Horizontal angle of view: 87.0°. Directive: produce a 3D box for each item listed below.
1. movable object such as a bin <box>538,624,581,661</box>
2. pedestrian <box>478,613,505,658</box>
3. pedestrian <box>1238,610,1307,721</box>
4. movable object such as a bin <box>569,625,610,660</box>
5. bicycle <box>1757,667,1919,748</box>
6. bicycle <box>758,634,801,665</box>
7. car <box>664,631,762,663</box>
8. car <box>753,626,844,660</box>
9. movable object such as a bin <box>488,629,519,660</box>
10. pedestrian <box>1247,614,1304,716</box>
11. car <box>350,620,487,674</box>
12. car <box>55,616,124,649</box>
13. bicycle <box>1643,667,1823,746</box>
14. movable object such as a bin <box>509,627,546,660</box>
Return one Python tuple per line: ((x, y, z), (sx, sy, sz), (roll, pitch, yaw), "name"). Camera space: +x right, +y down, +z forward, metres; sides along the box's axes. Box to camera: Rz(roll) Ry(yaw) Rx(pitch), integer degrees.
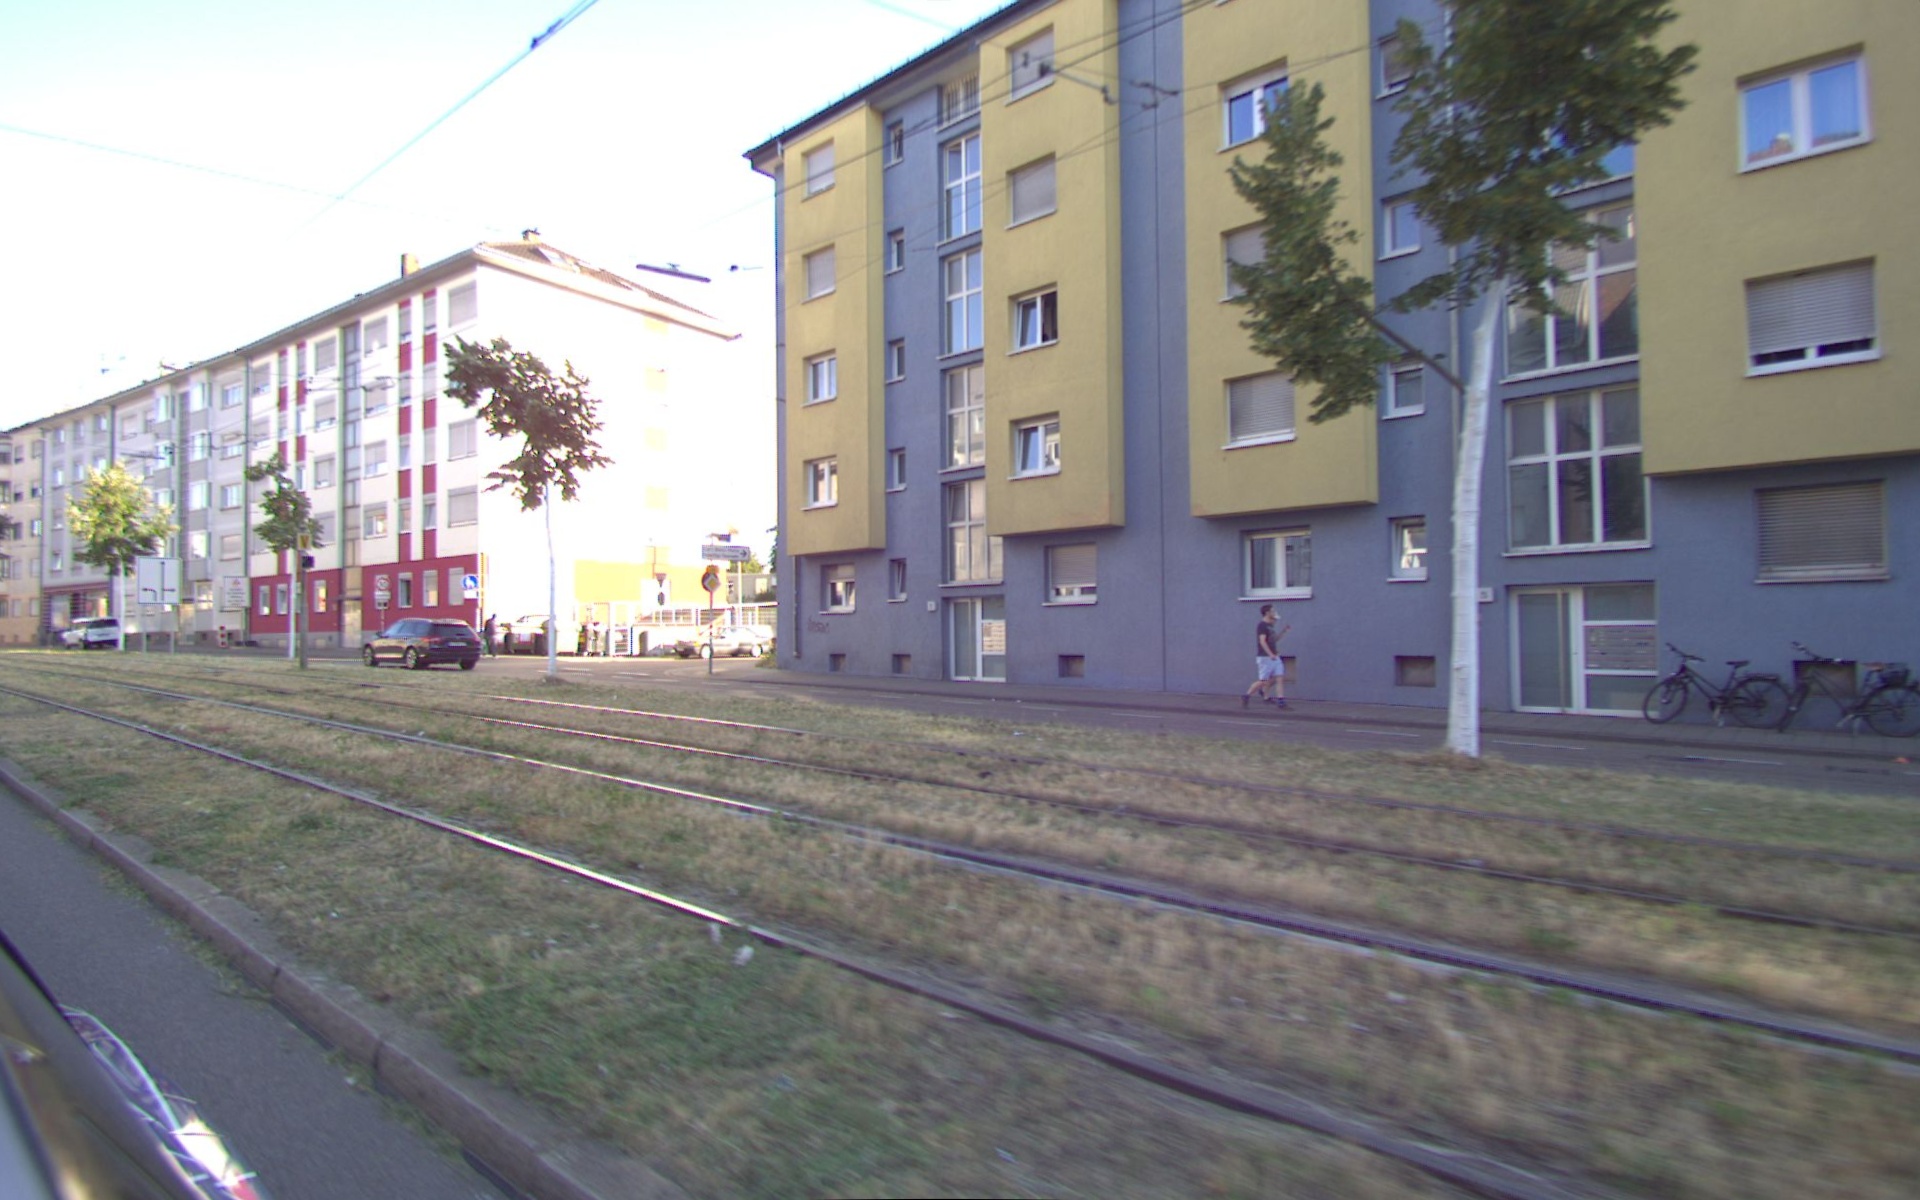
((-16.095, 1.700, 40.674), (1.136, 1.426, 1.206), (-1, -2, 36), "movable object such as a bin")
((-17.795, 1.353, 38.463), (0.790, 1.702, 0.608), (-2, -2, 35), "pedestrian")
((5.286, 1.091, 17.101), (0.885, 1.786, 0.587), (-2, 1, 40), "pedestrian")
((-15.286, 1.728, 41.757), (1.106, 1.426, 1.206), (-1, -2, 36), "movable object such as a bin")
((11.565, 1.375, 13.102), (1.911, 0.932, 0.422), (-2, 1, 42), "bicycle")
((-6.608, 1.810, 37.112), (0.600, 1.084, 1.946), (-1, -2, 23), "bicycle")
((-10.401, 1.958, 42.847), (1.699, 1.304, 3.826), (-2, -2, 37), "car")
((-7.431, 1.969, 46.892), (1.897, 1.519, 3.947), (-1, -2, 39), "car")
((-18.216, 1.771, 40.395), (0.804, 1.235, 0.858), (-1, -2, 36), "movable object such as a bin")
((5.546, 1.123, 17.780), (0.706, 1.707, 0.610), (-2, 1, 40), "pedestrian")
((-16.349, 1.397, 30.482), (4.788, 1.480, 1.776), (-1, -4, 38), "car")
((-50.729, 1.899, 58.972), (4.408, 1.843, 1.852), (-2, -2, 33), "car")
((10.519, 1.424, 13.834), (1.911, 0.932, 0.422), (-2, 1, 42), "bicycle")
((-17.621, 1.766, 41.256), (0.804, 1.296, 1.148), (-1, -2, 36), "movable object such as a bin")
